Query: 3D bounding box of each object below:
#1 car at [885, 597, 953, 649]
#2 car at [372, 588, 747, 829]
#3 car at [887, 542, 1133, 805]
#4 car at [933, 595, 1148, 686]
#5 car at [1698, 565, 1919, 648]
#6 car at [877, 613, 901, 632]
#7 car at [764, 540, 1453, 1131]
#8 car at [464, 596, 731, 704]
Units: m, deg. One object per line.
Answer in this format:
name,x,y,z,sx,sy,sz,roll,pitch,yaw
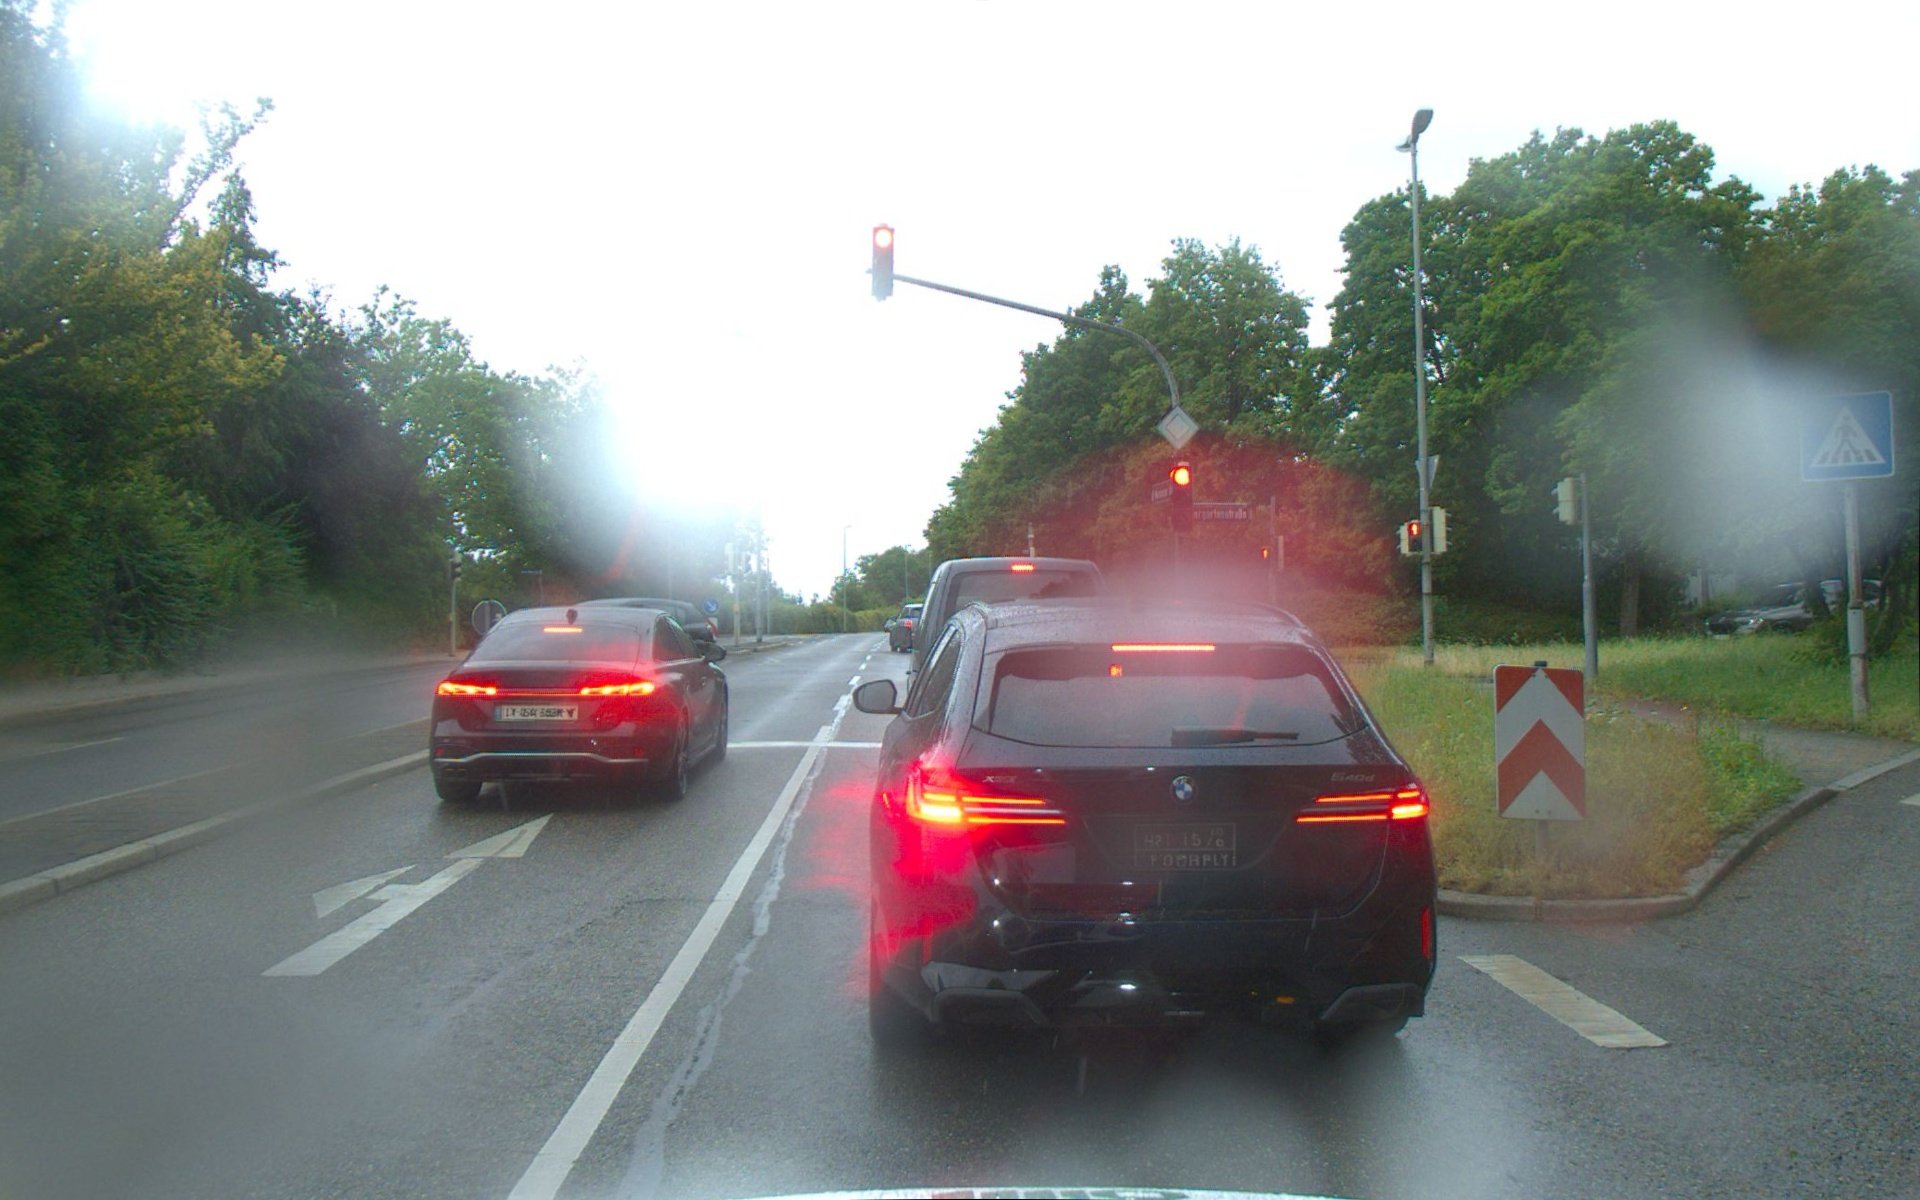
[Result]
car,-1.296,0.701,50.587,1.666,1.452,3.507,-2,0,-8
car,-3.004,0.753,13.418,1.953,1.554,4.327,-2,0,0
car,0.358,0.548,13.985,1.781,1.901,3.952,0,0,0
car,1.615,0.789,33.496,3.959,1.630,1.738,-2,0,-20
car,19.894,0.128,38.526,4.616,1.747,1.995,-2,0,-10
car,-7.571,2.379,176.682,1.951,1.858,4.002,-2,-1,6
car,0.507,0.669,6.795,1.858,1.578,4.616,0,-1,3
car,-5.822,0.769,26.928,1.864,1.535,3.984,-2,0,37
